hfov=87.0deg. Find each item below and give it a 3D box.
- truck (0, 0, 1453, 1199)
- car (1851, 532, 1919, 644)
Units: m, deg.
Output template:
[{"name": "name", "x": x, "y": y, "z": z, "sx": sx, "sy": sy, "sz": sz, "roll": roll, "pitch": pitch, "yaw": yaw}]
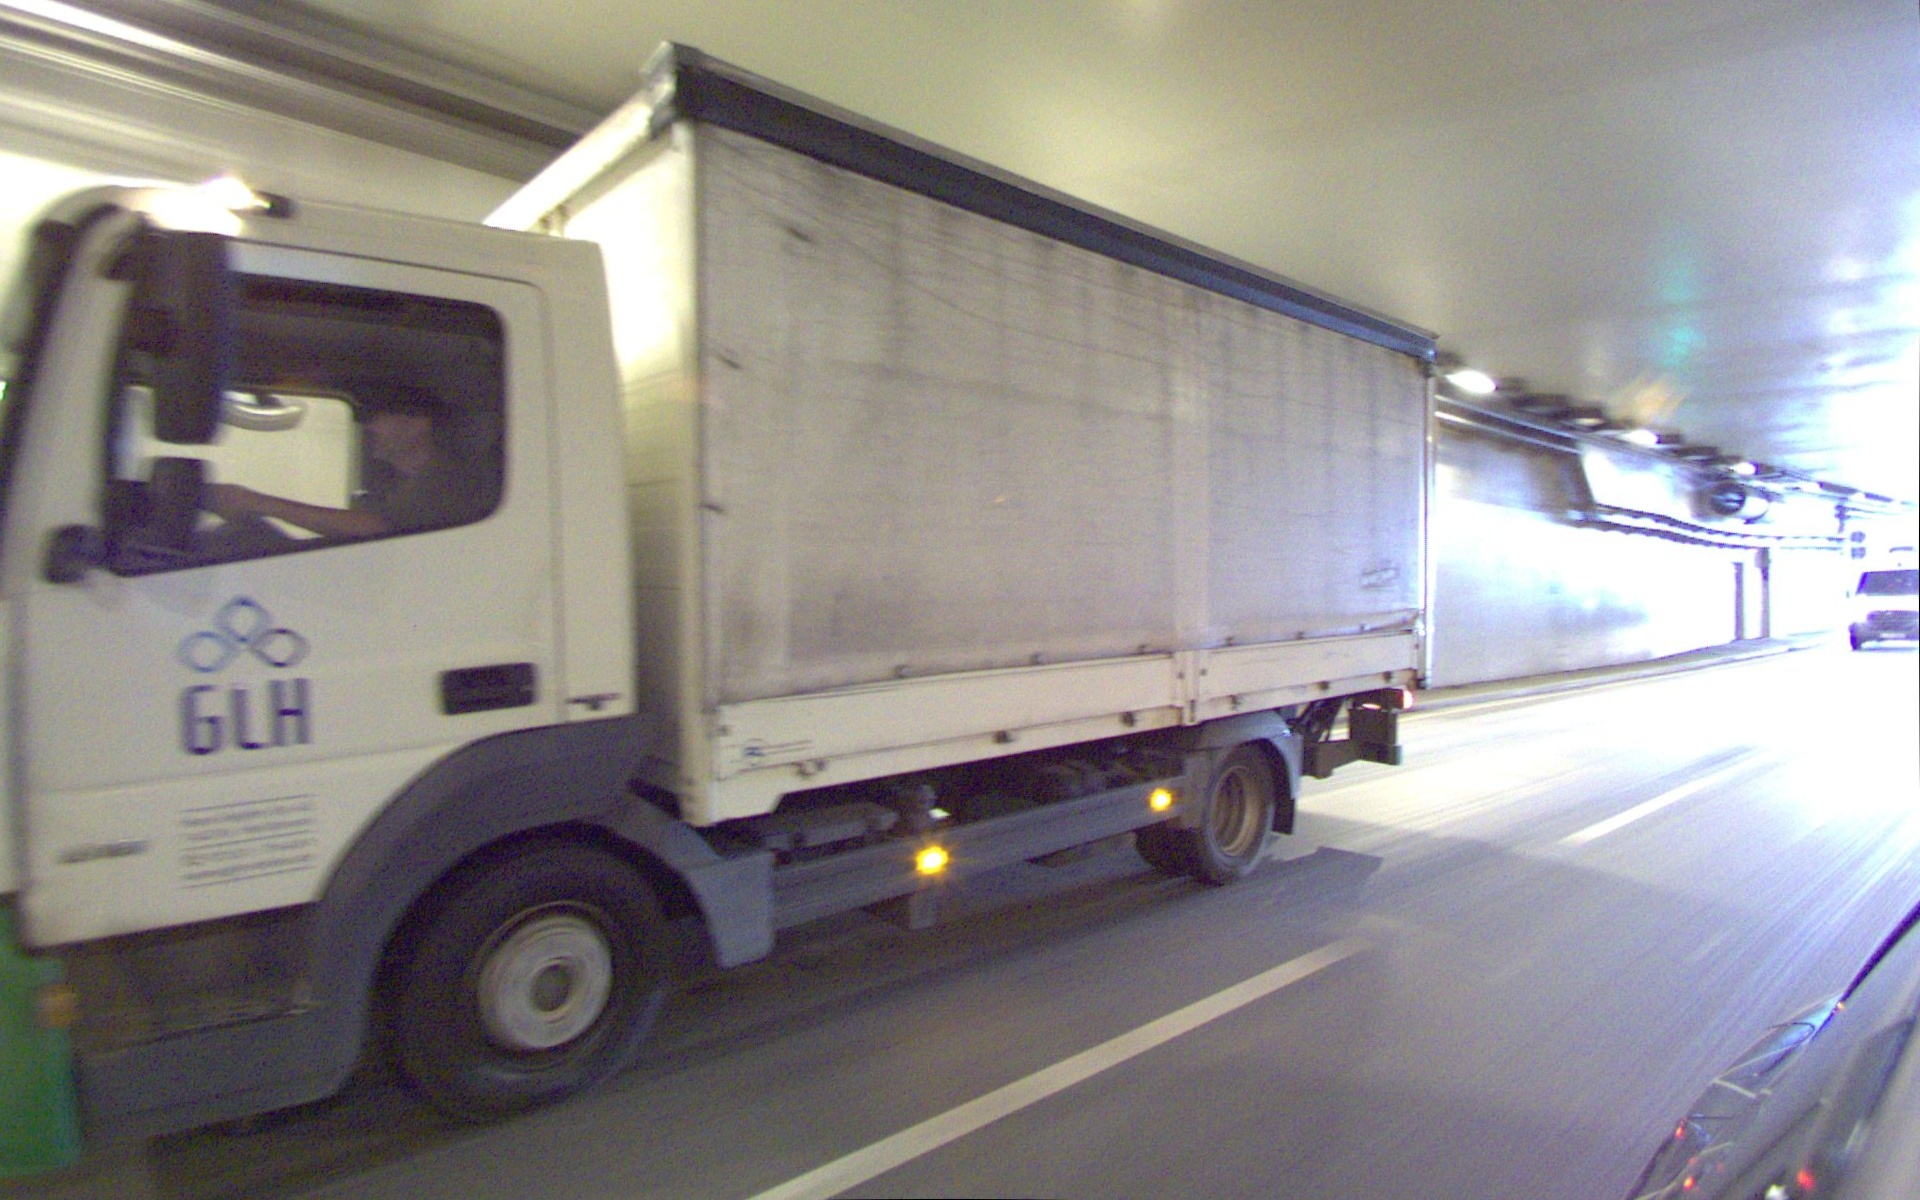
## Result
[{"name": "truck", "x": -0.261, "y": -0.244, "z": 5.111, "sx": 7.123, "sy": 3.221, "sz": 2.556, "roll": -1, "pitch": 1, "yaw": -43}, {"name": "car", "x": 26.946, "y": -0.417, "z": 28.304, "sx": 6.742, "sy": 2.883, "sz": 2.105, "roll": -2, "pitch": 1, "yaw": -41}]
